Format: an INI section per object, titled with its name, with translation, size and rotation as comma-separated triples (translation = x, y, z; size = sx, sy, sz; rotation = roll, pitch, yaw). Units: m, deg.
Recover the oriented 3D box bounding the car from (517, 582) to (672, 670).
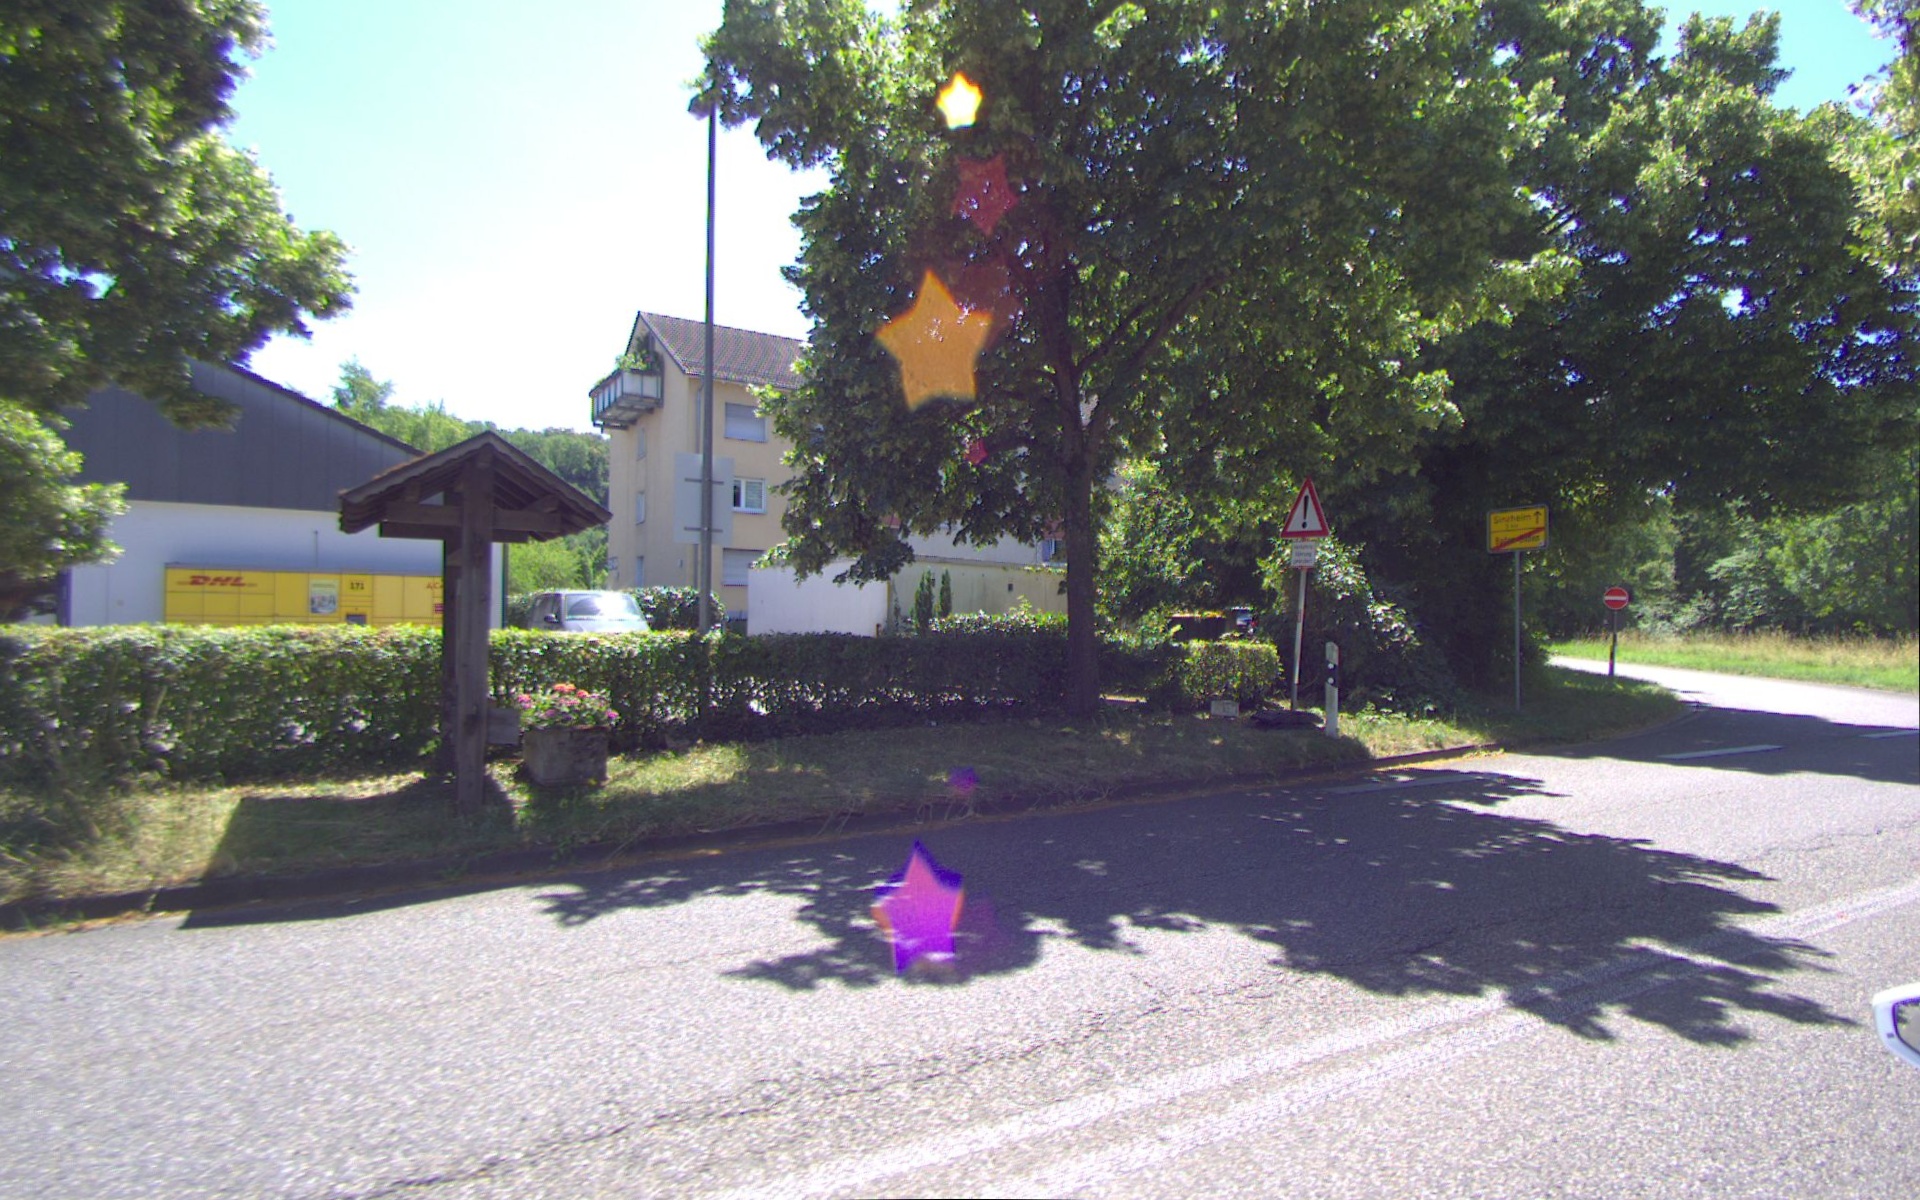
[car]
translation = -8.119, 0.496, 22.001
size = 2.215, 1.592, 4.959
rotation = 2, 1, -32
